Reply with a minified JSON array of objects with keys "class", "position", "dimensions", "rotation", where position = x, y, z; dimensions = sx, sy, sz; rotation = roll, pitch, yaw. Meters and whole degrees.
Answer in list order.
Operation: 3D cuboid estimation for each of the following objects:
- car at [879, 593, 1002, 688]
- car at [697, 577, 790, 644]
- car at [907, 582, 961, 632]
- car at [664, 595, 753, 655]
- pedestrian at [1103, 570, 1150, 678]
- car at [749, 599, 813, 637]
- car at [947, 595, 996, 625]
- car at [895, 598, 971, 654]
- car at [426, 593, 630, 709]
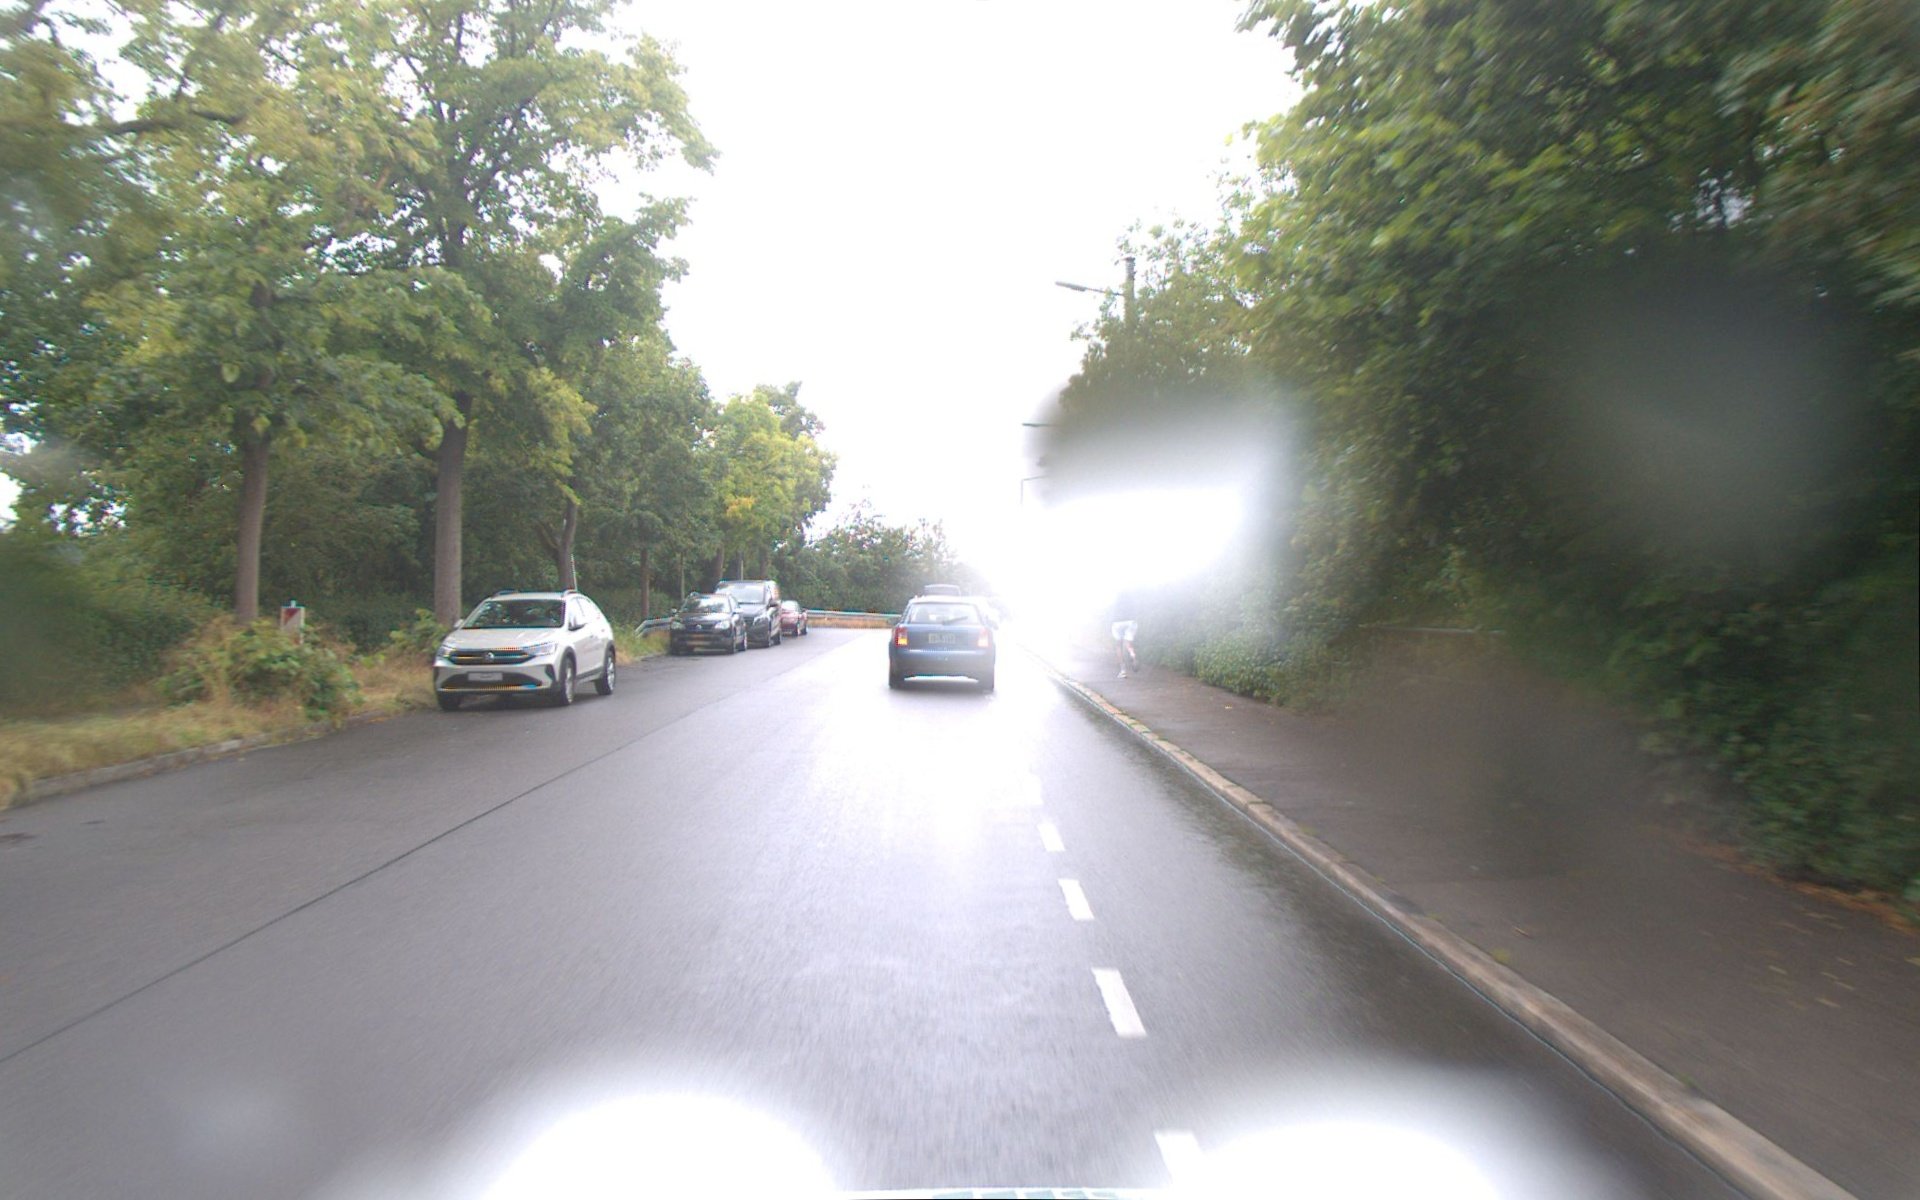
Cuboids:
[{"class":"car","position":[-0.398,0.671,27.434],"dimensions":[1.713,1.432,3.995],"rotation":[-1,-1,-5]},{"class":"car","position":[-6.334,0.322,48.966],"dimensions":[2.041,1.851,5.380],"rotation":[-1,0,0]},{"class":"car","position":[-0.883,0.241,57.194],"dimensions":[1.785,1.645,3.785],"rotation":[-1,0,-1]},{"class":"car","position":[-6.471,0.632,42.988],"dimensions":[1.761,1.463,4.254],"rotation":[-1,0,-2]},{"class":"pedestrian","position":[2.946,0.418,29.368],"dimensions":[0.702,1.867,1.021],"rotation":[-2,0,1]},{"class":"car","position":[-6.476,0.655,60.179],"dimensions":[1.752,1.320,4.326],"rotation":[-1,0,2]},{"class":"car","position":[0.511,0.416,71.435],"dimensions":[1.783,1.223,3.788],"rotation":[-1,0,5]},{"class":"car","position":[-0.677,0.684,44.182],"dimensions":[1.851,1.413,4.001],"rotation":[0,0,2]},{"class":"car","position":[-5.932,0.664,23.216],"dimensions":[1.654,1.463,4.256],"rotation":[-1,0,1]}]
